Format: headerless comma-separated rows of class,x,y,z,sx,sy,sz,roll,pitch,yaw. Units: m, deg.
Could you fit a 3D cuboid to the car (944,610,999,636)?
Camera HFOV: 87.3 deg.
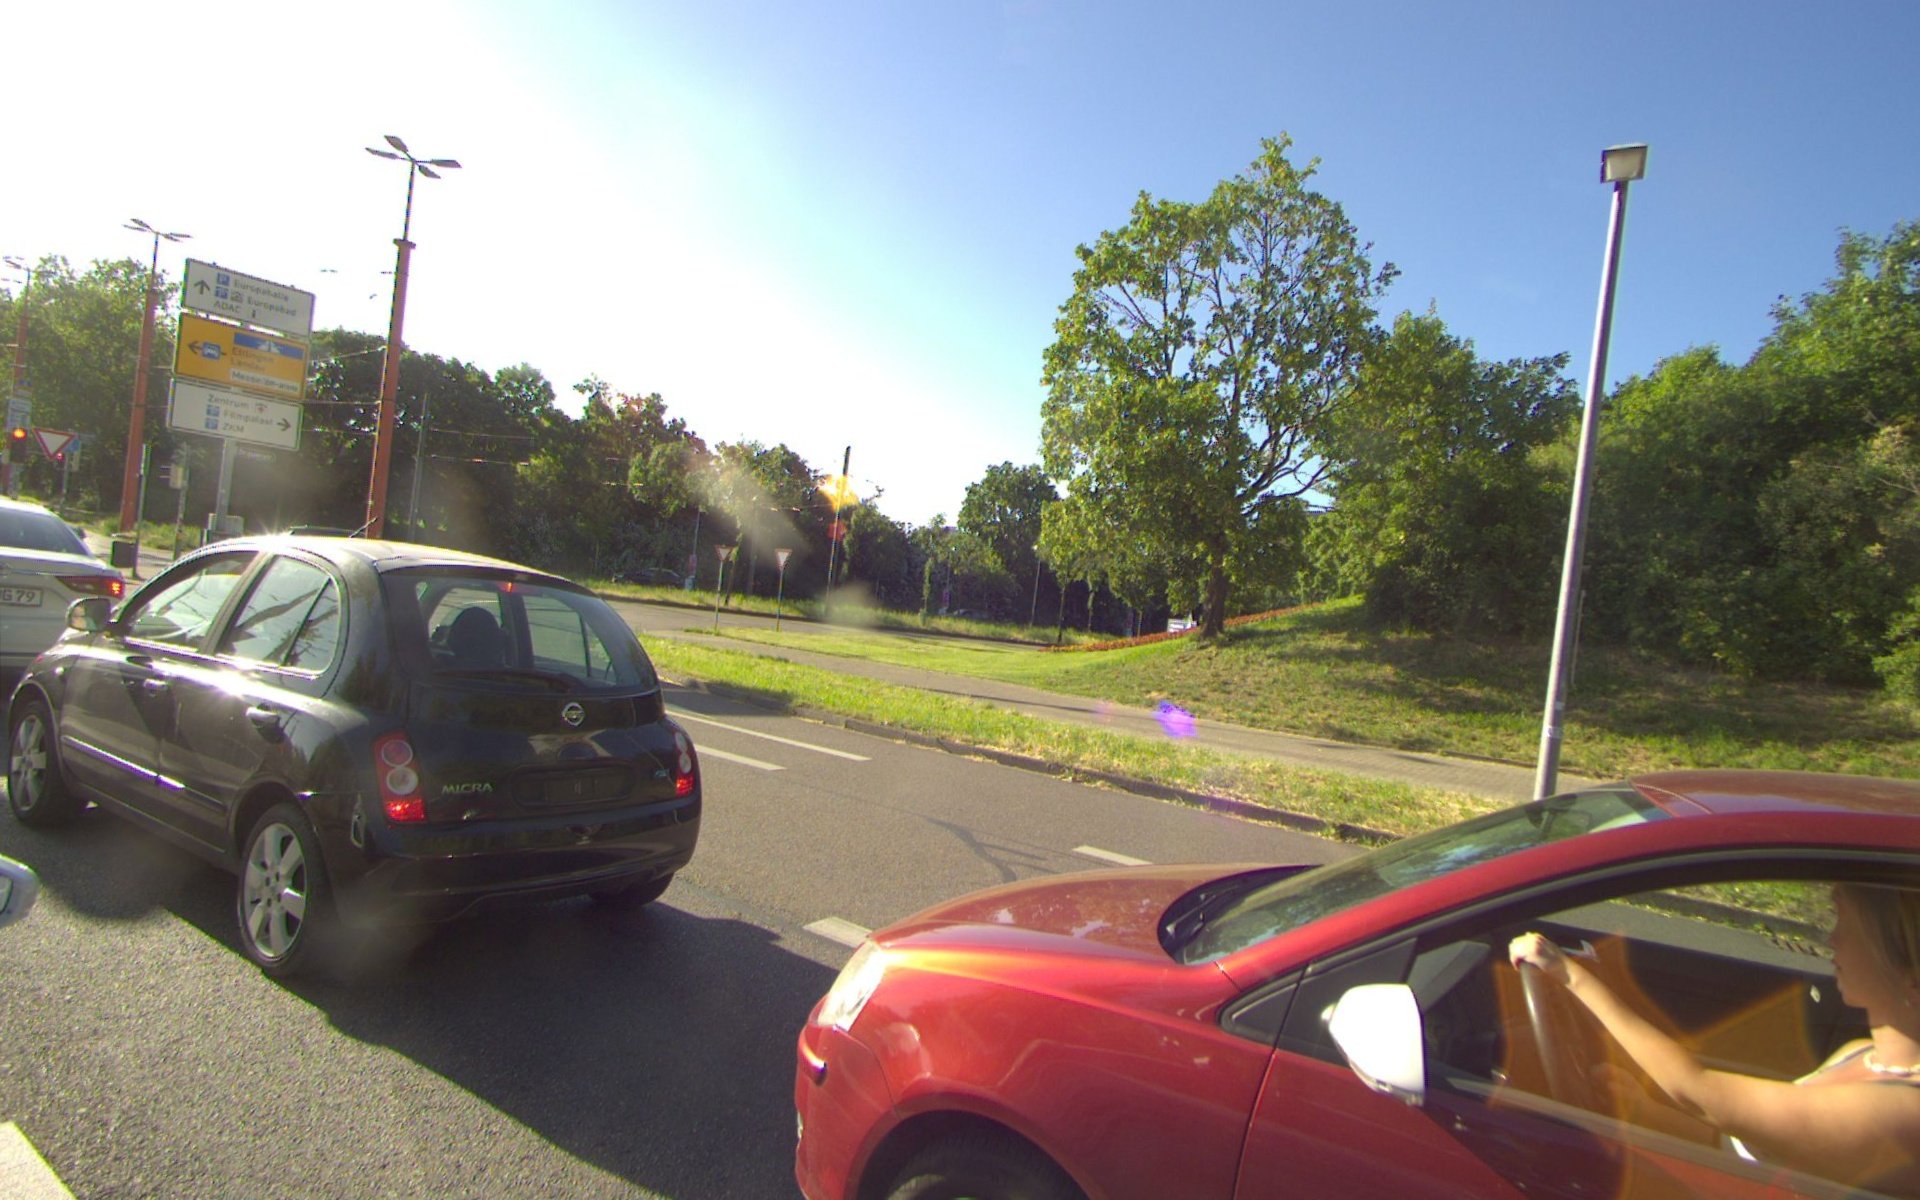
car,0.839,1.686,74.708,3.774,1.419,1.639,9,-1,-38

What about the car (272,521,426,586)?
car,-22.371,-1.688,37.057,4.592,1.666,1.645,8,-1,-29

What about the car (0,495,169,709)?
car,-8.379,-0.176,8.078,4.256,1.457,1.802,6,-2,33

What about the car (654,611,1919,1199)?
car,1.336,1.001,1.868,3.629,1.477,1.579,6,-2,32

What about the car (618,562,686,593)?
car,-19.870,-1.442,65.023,3.774,1.419,1.639,9,-1,-38

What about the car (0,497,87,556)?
car,-28.387,-2.304,29.539,3.802,1.458,1.644,8,-1,-31

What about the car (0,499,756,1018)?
car,-2.807,0.466,4.624,3.385,1.457,1.579,6,-2,32
